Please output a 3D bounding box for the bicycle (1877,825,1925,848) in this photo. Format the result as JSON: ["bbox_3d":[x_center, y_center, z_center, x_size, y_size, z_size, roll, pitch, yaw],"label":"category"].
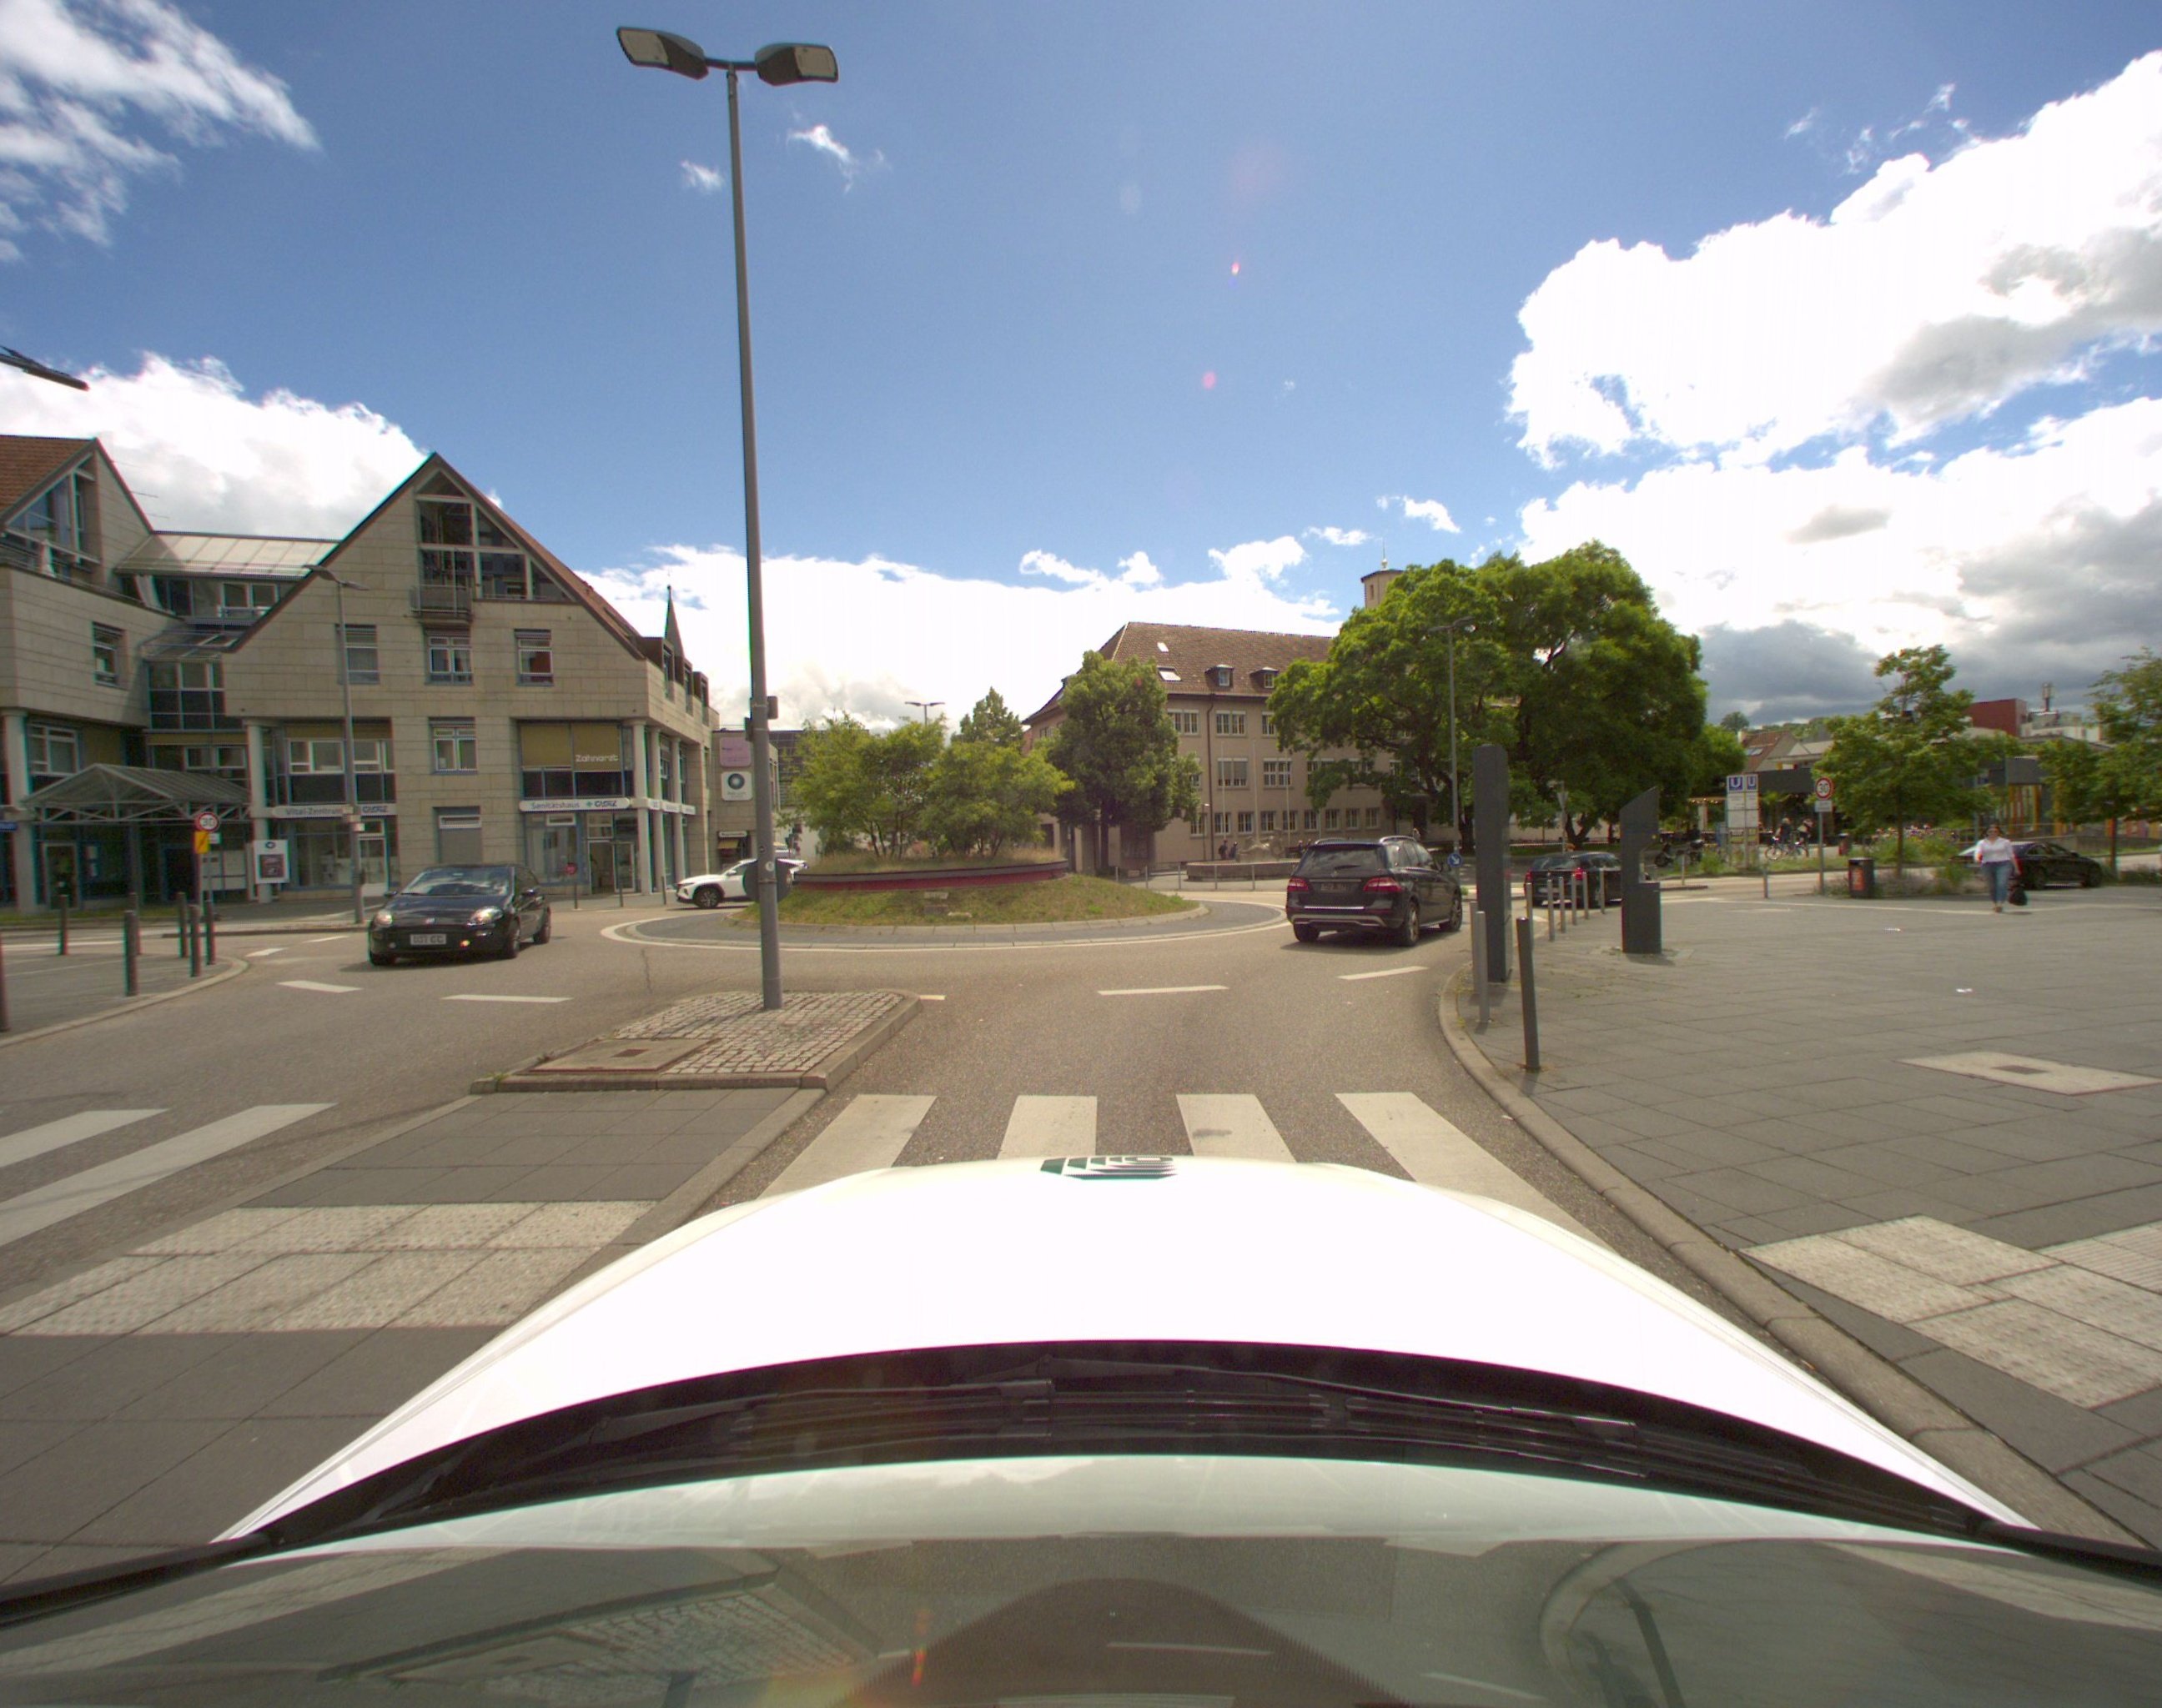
[{"bbox_3d":[39.810,-0.843,39.540,0.539,1.069,1.563,-2,1,-18],"label":"bicycle"}]

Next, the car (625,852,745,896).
[{"bbox_3d":[-16.969,0.844,34.971,4.231,1.576,1.853,-3,0,8],"label":"car"}]

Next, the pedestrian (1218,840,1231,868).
[{"bbox_3d":[8.042,0.006,45.633,0.635,1.523,0.576,-1,4,-4],"label":"pedestrian"}]

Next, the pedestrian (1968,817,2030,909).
[{"bbox_3d":[18.136,0.172,16.086,0.780,1.745,0.699,-2,0,-36],"label":"pedestrian"}]

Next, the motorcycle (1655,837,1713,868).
[{"bbox_3d":[26.553,-0.080,35.924,0.582,1.289,2.127,-4,3,-16],"label":"motorcycle"}]

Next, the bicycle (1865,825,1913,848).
[{"bbox_3d":[39.055,-0.820,39.375,0.578,1.091,1.563,-2,1,-18],"label":"bicycle"}]

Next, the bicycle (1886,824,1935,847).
[{"bbox_3d":[40.546,-0.894,39.818,0.578,1.091,1.563,-2,1,-18],"label":"bicycle"}]

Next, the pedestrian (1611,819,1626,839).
[{"bbox_3d":[42.902,-2.002,64.978,0.788,1.577,0.633,-2,0,-19],"label":"pedestrian"}]

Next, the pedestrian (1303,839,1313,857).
[{"bbox_3d":[14.822,-0.376,53.095,0.482,1.182,0.584,0,0,28],"label":"pedestrian"}]

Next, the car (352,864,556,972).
[{"bbox_3d":[-9.839,0.888,13.134,1.706,1.419,4.085,-1,0,-25],"label":"car"}]

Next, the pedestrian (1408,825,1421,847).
[{"bbox_3d":[22.807,-1.220,55.703,0.693,1.492,0.818,-1,0,12],"label":"pedestrian"}]

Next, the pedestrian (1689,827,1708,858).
[{"bbox_3d":[32.116,-0.597,42.351,0.617,1.577,0.577,-2,0,-28],"label":"pedestrian"}]

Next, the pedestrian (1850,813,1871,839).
[{"bbox_3d":[44.884,-1.632,46.895,0.614,1.463,0.581,-2,0,-11],"label":"pedestrian"}]

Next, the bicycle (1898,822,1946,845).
[{"bbox_3d":[41.438,-0.991,40.132,0.578,1.091,1.563,-2,1,-18],"label":"bicycle"}]

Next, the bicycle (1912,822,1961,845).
[{"bbox_3d":[42.352,-0.999,40.335,0.578,1.091,1.563,-2,1,-18],"label":"bicycle"}]

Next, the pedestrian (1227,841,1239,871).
[{"bbox_3d":[8.355,0.111,44.751,0.571,1.608,0.437,-1,4,-4],"label":"pedestrian"}]

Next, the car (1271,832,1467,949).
[{"bbox_3d":[5.245,0.530,14.428,2.007,1.727,4.462,-3,0,36],"label":"car"}]

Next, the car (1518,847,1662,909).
[{"bbox_3d":[13.282,0.579,21.218,3.849,1.383,1.598,-2,0,-31],"label":"car"}]

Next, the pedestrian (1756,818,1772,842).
[{"bbox_3d":[40.946,-1.441,48.825,0.618,1.379,0.577,-2,0,-31],"label":"pedestrian"}]

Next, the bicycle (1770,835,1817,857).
[{"bbox_3d":[32.515,-0.371,37.195,0.499,0.997,1.610,-1,1,-12],"label":"bicycle"}]

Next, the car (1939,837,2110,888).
[{"bbox_3d":[28.705,0.236,24.797,4.372,1.406,1.851,-1,0,-18],"label":"car"}]

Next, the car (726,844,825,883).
[{"bbox_3d":[-21.548,0.657,57.522,6.322,2.560,2.185,0,-3,-29],"label":"car"}]

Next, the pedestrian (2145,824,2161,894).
[{"bbox_3d":[25.471,0.111,18.982,0.547,1.629,0.681,-2,-1,30],"label":"pedestrian"}]

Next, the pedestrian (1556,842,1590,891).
[{"bbox_3d":[15.943,0.392,26.398,0.549,1.514,0.786,-3,2,-6],"label":"pedestrian"}]

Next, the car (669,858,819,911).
[{"bbox_3d":[-11.360,0.991,27.556,4.394,1.581,1.843,-1,-1,-35],"label":"car"}]
